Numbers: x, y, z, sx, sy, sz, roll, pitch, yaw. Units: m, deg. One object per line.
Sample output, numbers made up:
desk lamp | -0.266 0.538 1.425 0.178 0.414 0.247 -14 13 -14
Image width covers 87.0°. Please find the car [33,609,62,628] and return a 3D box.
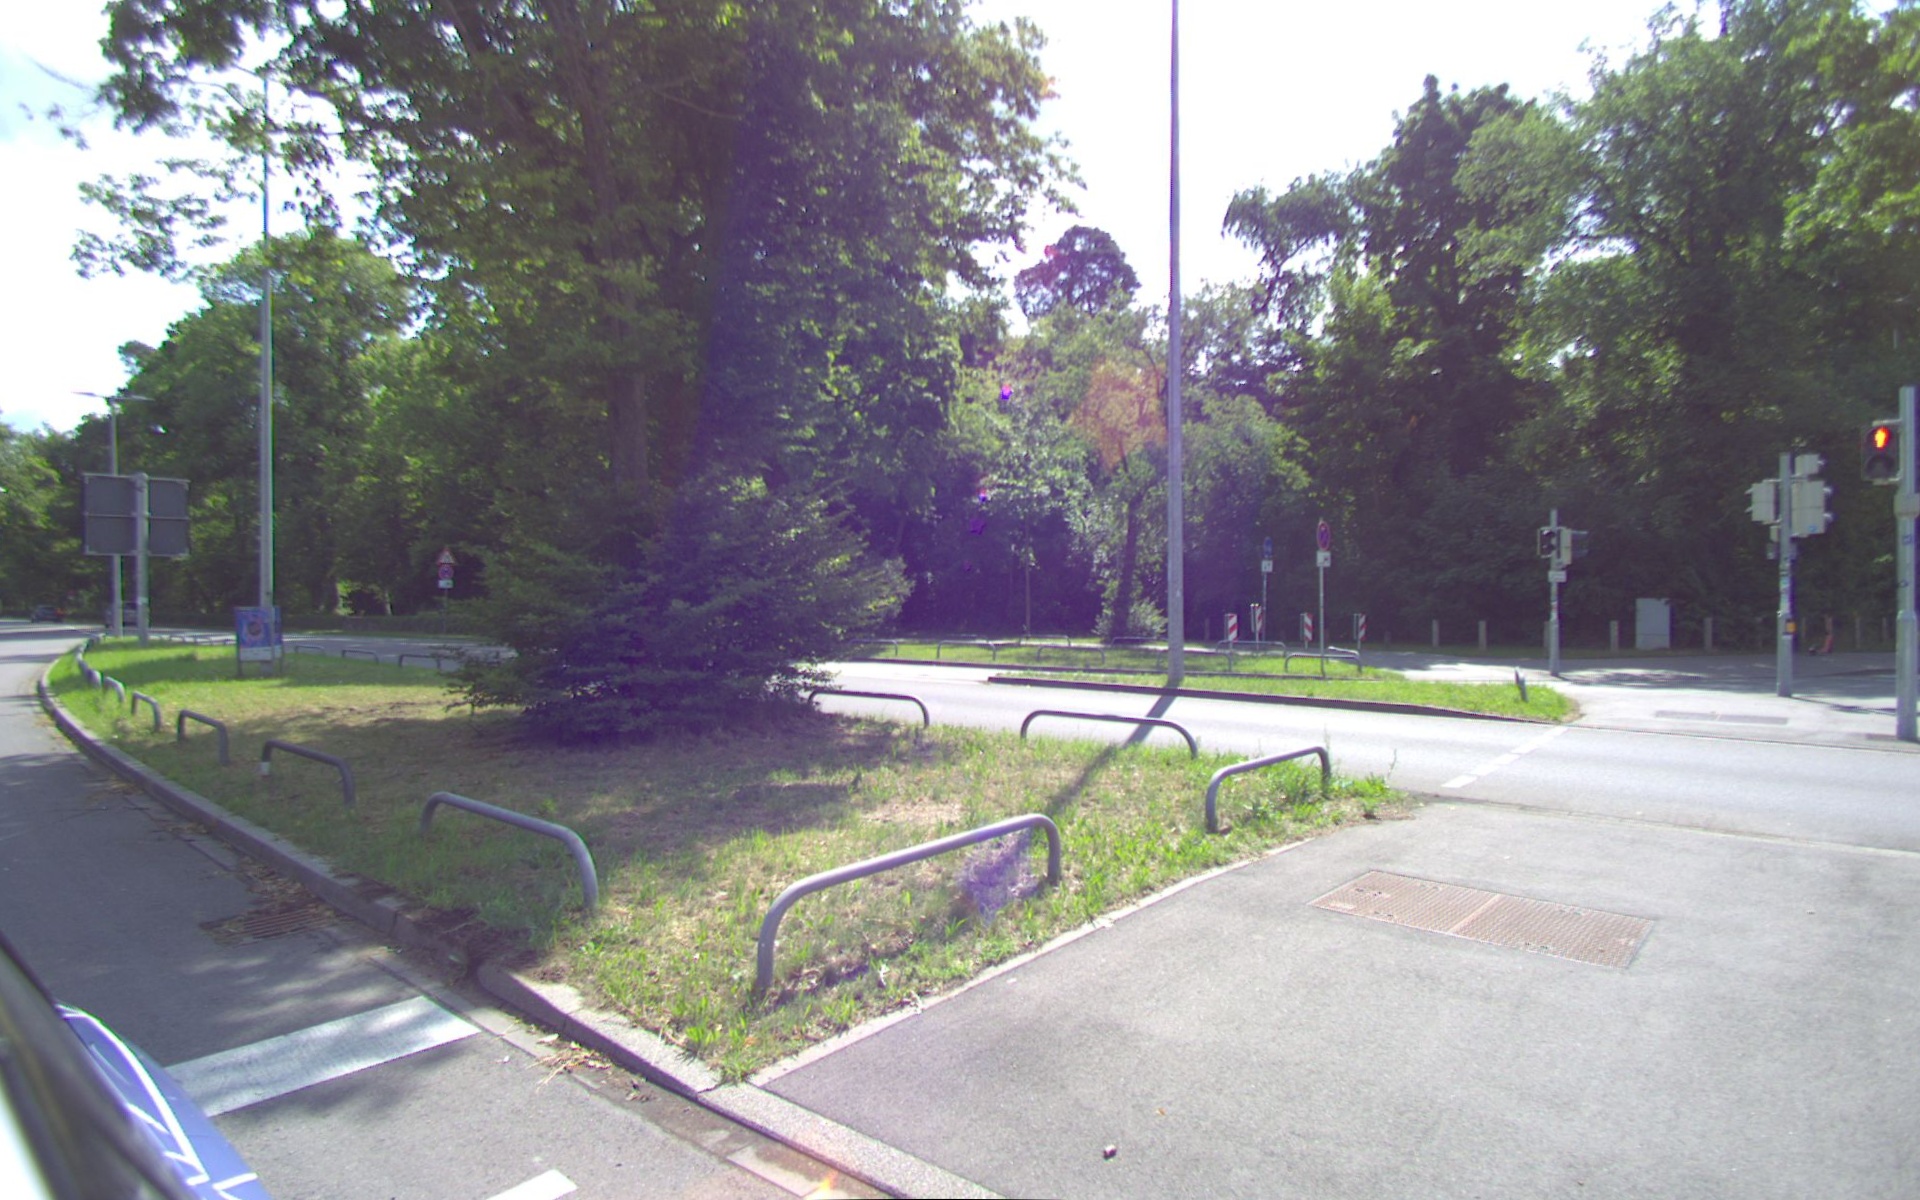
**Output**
car | -77.211 1.520 85.605 1.675 1.457 4.070 -2 2 -44

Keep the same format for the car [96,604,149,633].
car | -50.825 1.124 61.410 4.297 1.642 1.743 -1 2 41

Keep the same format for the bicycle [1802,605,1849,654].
bicycle | 21.542 0.728 25.186 1.208 1.182 0.422 1 0 -25
